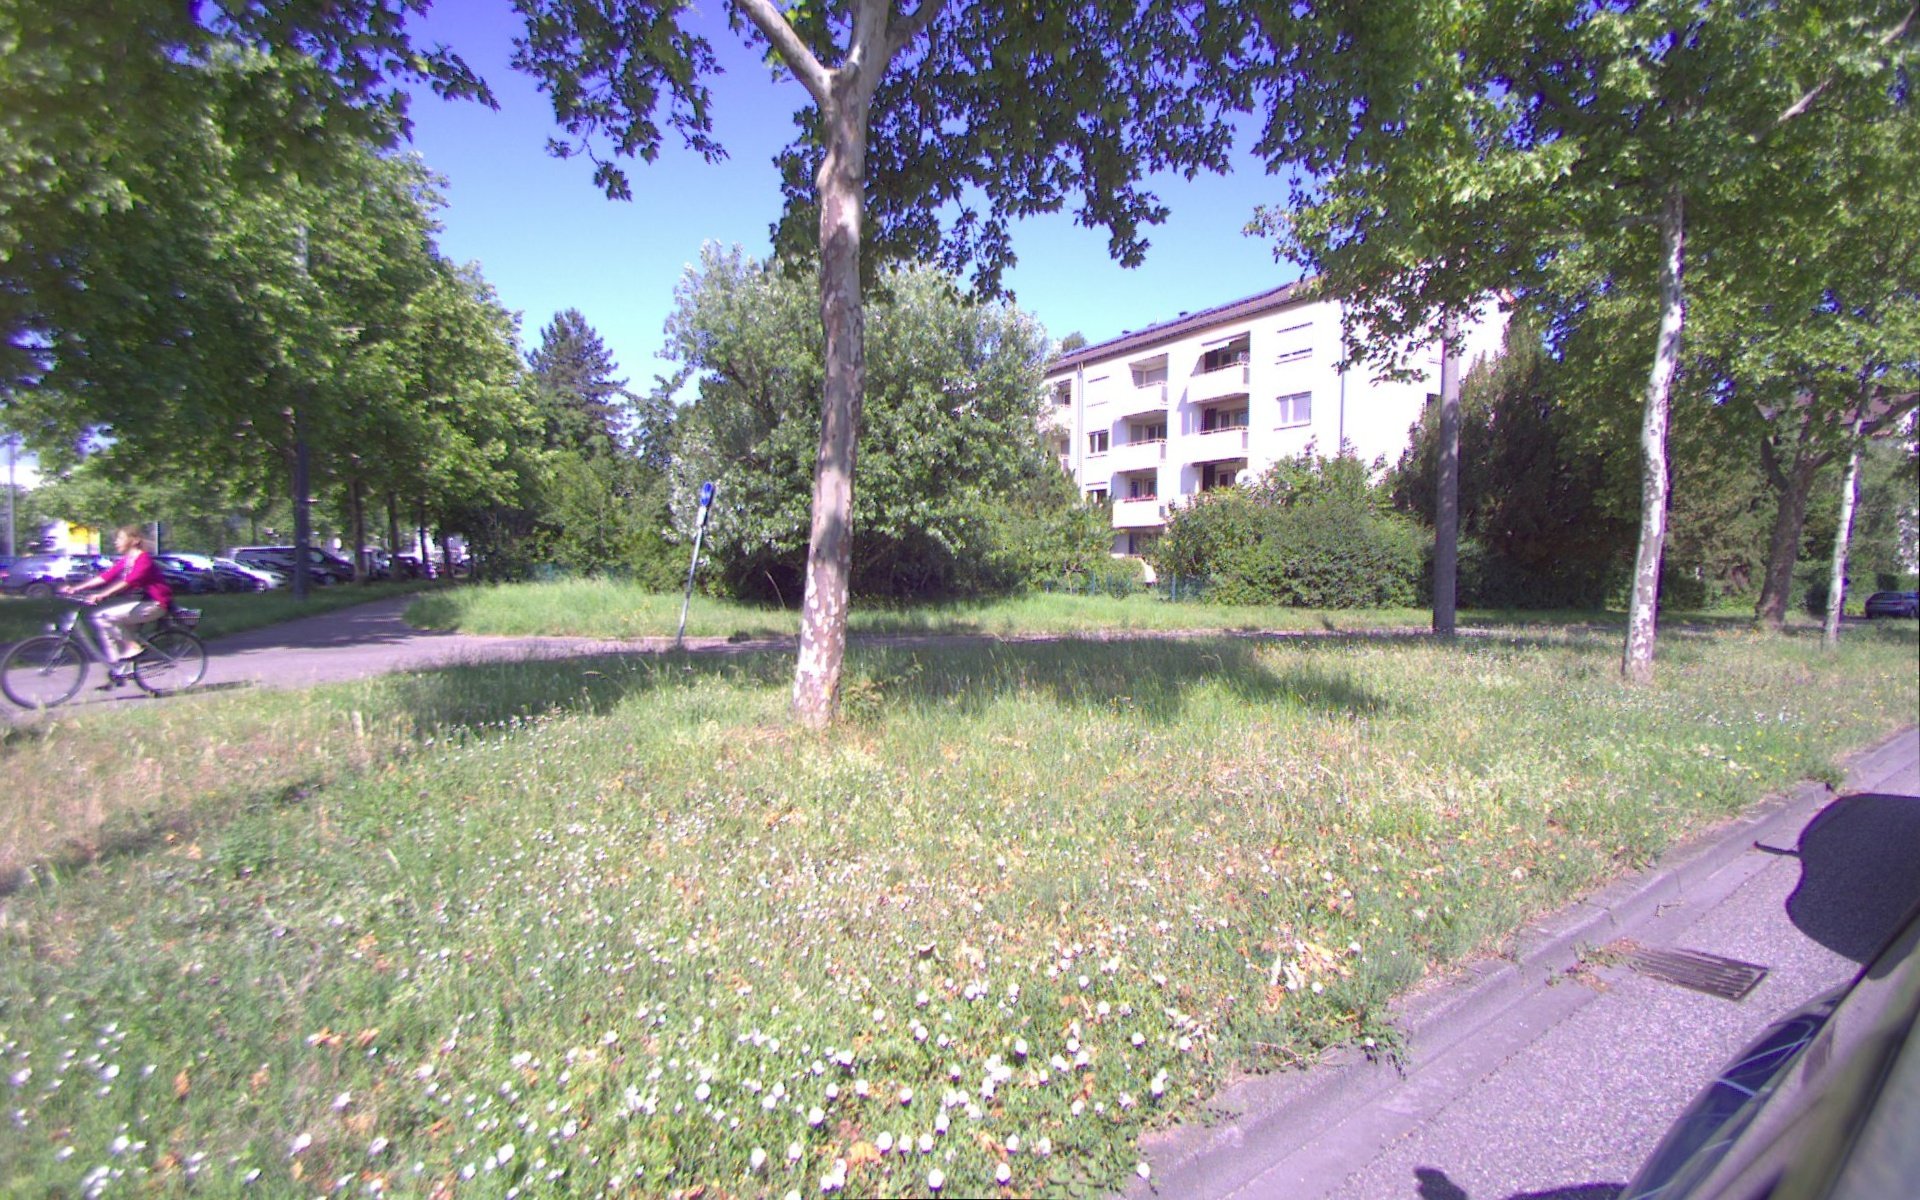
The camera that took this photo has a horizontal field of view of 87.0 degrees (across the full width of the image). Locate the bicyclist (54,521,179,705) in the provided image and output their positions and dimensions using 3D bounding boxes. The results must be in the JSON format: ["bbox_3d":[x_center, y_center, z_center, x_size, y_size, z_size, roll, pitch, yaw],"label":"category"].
[{"bbox_3d":[-8.717,0.110,10.471,0.696,1.809,0.802,2,1,29],"label":"bicyclist"}]

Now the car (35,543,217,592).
[{"bbox_3d":[-27.078,-1.035,33.069,4.267,1.509,2.003,0,2,-29],"label":"car"}]

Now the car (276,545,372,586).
[{"bbox_3d":[-35.810,-1.919,57.123,4.497,2.236,2.003,0,2,-29],"label":"car"}]

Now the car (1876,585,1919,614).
[{"bbox_3d":[47.679,-0.029,50.455,4.004,1.389,1.510,0,2,-25],"label":"car"}]

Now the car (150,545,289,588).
[{"bbox_3d":[-29.638,-1.322,40.676,4.267,1.653,2.003,0,2,-29],"label":"car"}]

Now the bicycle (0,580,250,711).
[{"bbox_3d":[-8.695,0.398,10.507,0.687,1.200,2.104,2,2,29],"label":"bicycle"}]

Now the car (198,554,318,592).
[{"bbox_3d":[-31.496,-1.210,45.591,4.267,1.653,2.003,0,2,-29],"label":"car"}]

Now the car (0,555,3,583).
[{"bbox_3d":[-65.122,-2.027,65.911,1.991,1.816,3.941,0,0,41],"label":"car"}]

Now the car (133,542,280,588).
[{"bbox_3d":[-28.536,-1.287,38.510,4.267,1.653,2.002,0,0,-29],"label":"car"}]

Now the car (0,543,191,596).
[{"bbox_3d":[-26.133,-0.928,30.665,4.267,1.509,2.003,-1,2,-29],"label":"car"}]

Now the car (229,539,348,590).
[{"bbox_3d":[-32.370,-1.699,48.931,4.494,2.318,2.004,0,2,-24],"label":"car"}]

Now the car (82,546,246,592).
[{"bbox_3d":[-27.984,-1.084,35.771,4.267,1.509,2.003,0,2,-29],"label":"car"}]
